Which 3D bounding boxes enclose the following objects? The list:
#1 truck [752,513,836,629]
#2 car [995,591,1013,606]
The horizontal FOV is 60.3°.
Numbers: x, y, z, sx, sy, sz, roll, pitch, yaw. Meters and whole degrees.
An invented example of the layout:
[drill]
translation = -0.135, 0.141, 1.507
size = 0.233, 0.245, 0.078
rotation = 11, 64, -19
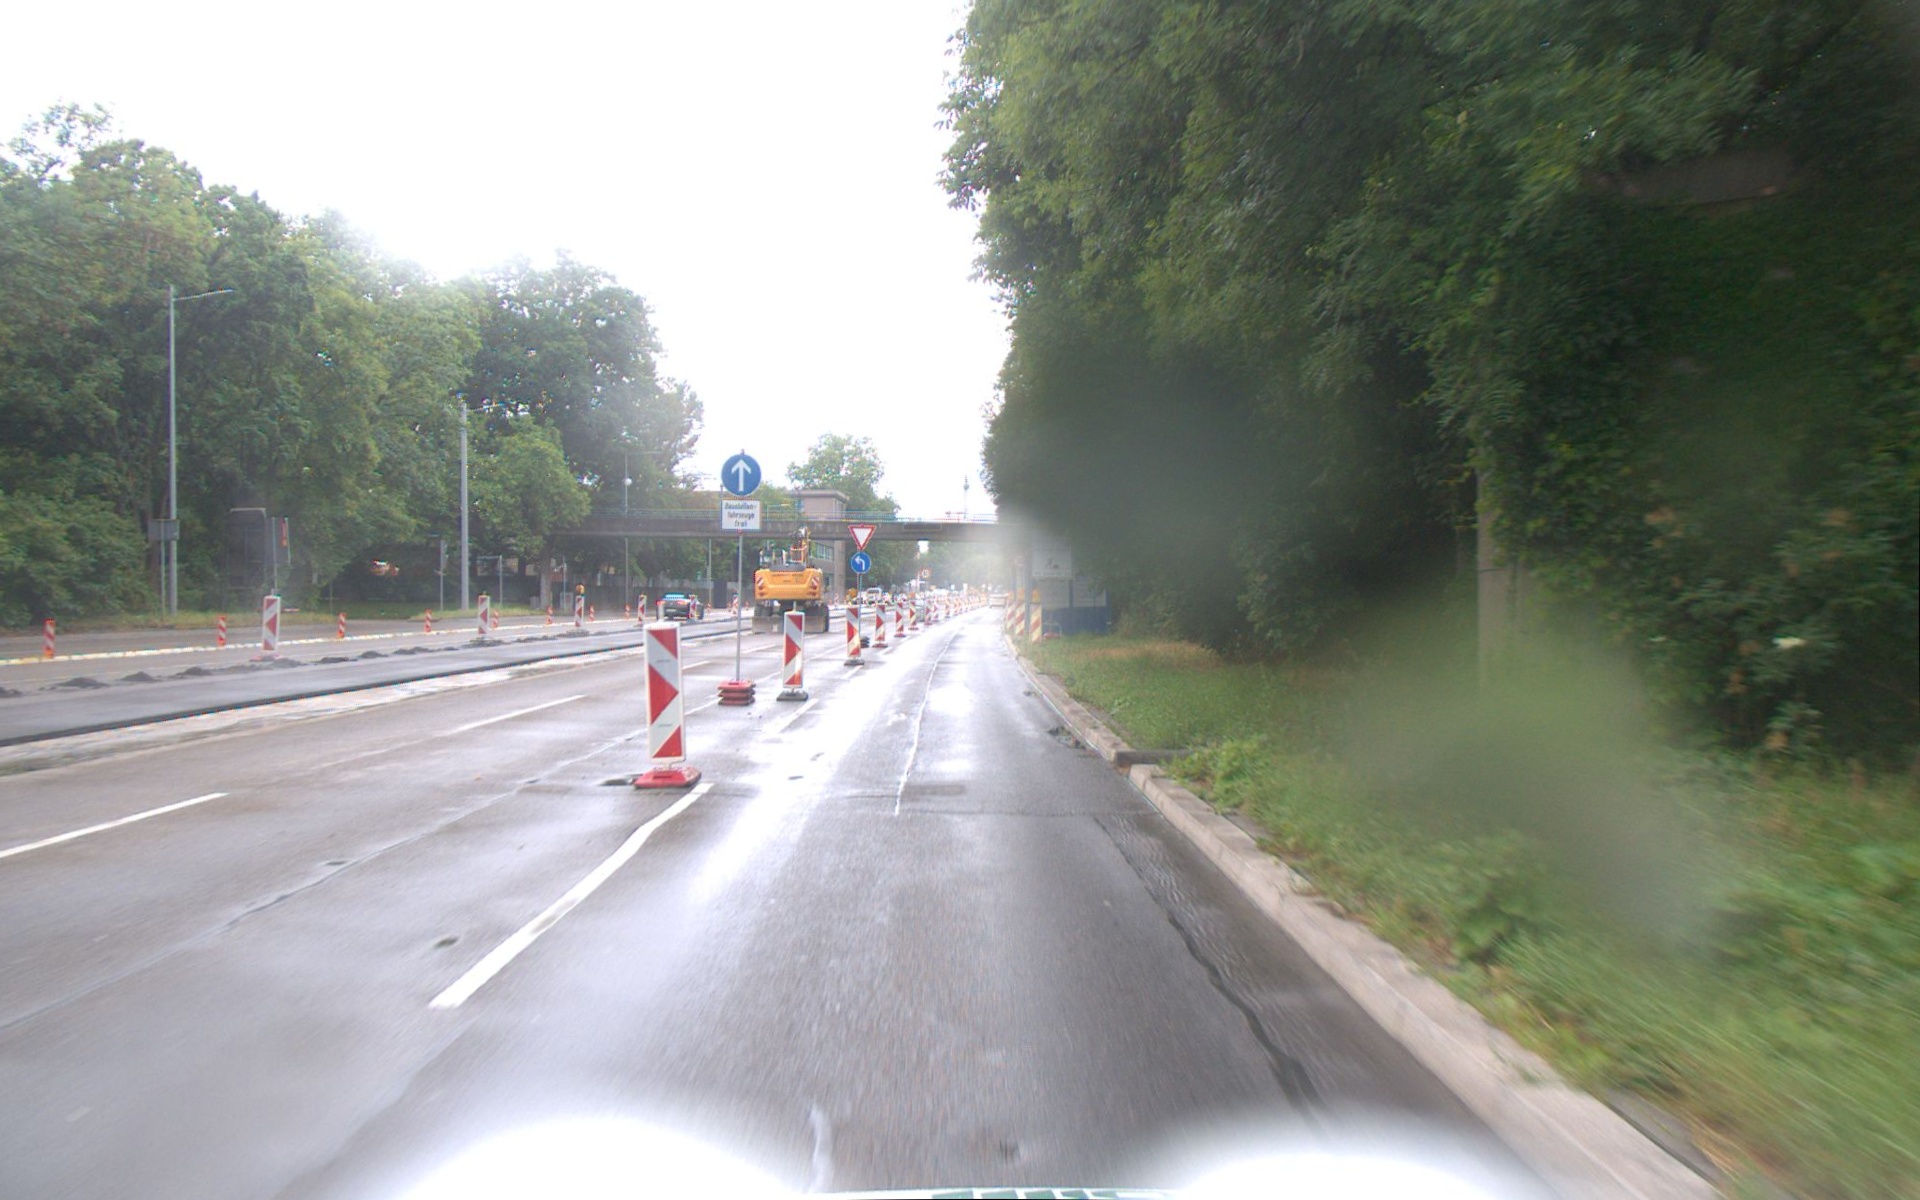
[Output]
[truck]
translation = -6.648, -1.118, 67.782
size = 2.840, 4.333, 10.749
rotation = 1, 0, -3
[car]
translation = 4.894, -0.191, 183.033
size = 1.952, 1.668, 4.001
rotation = -1, 0, 2
